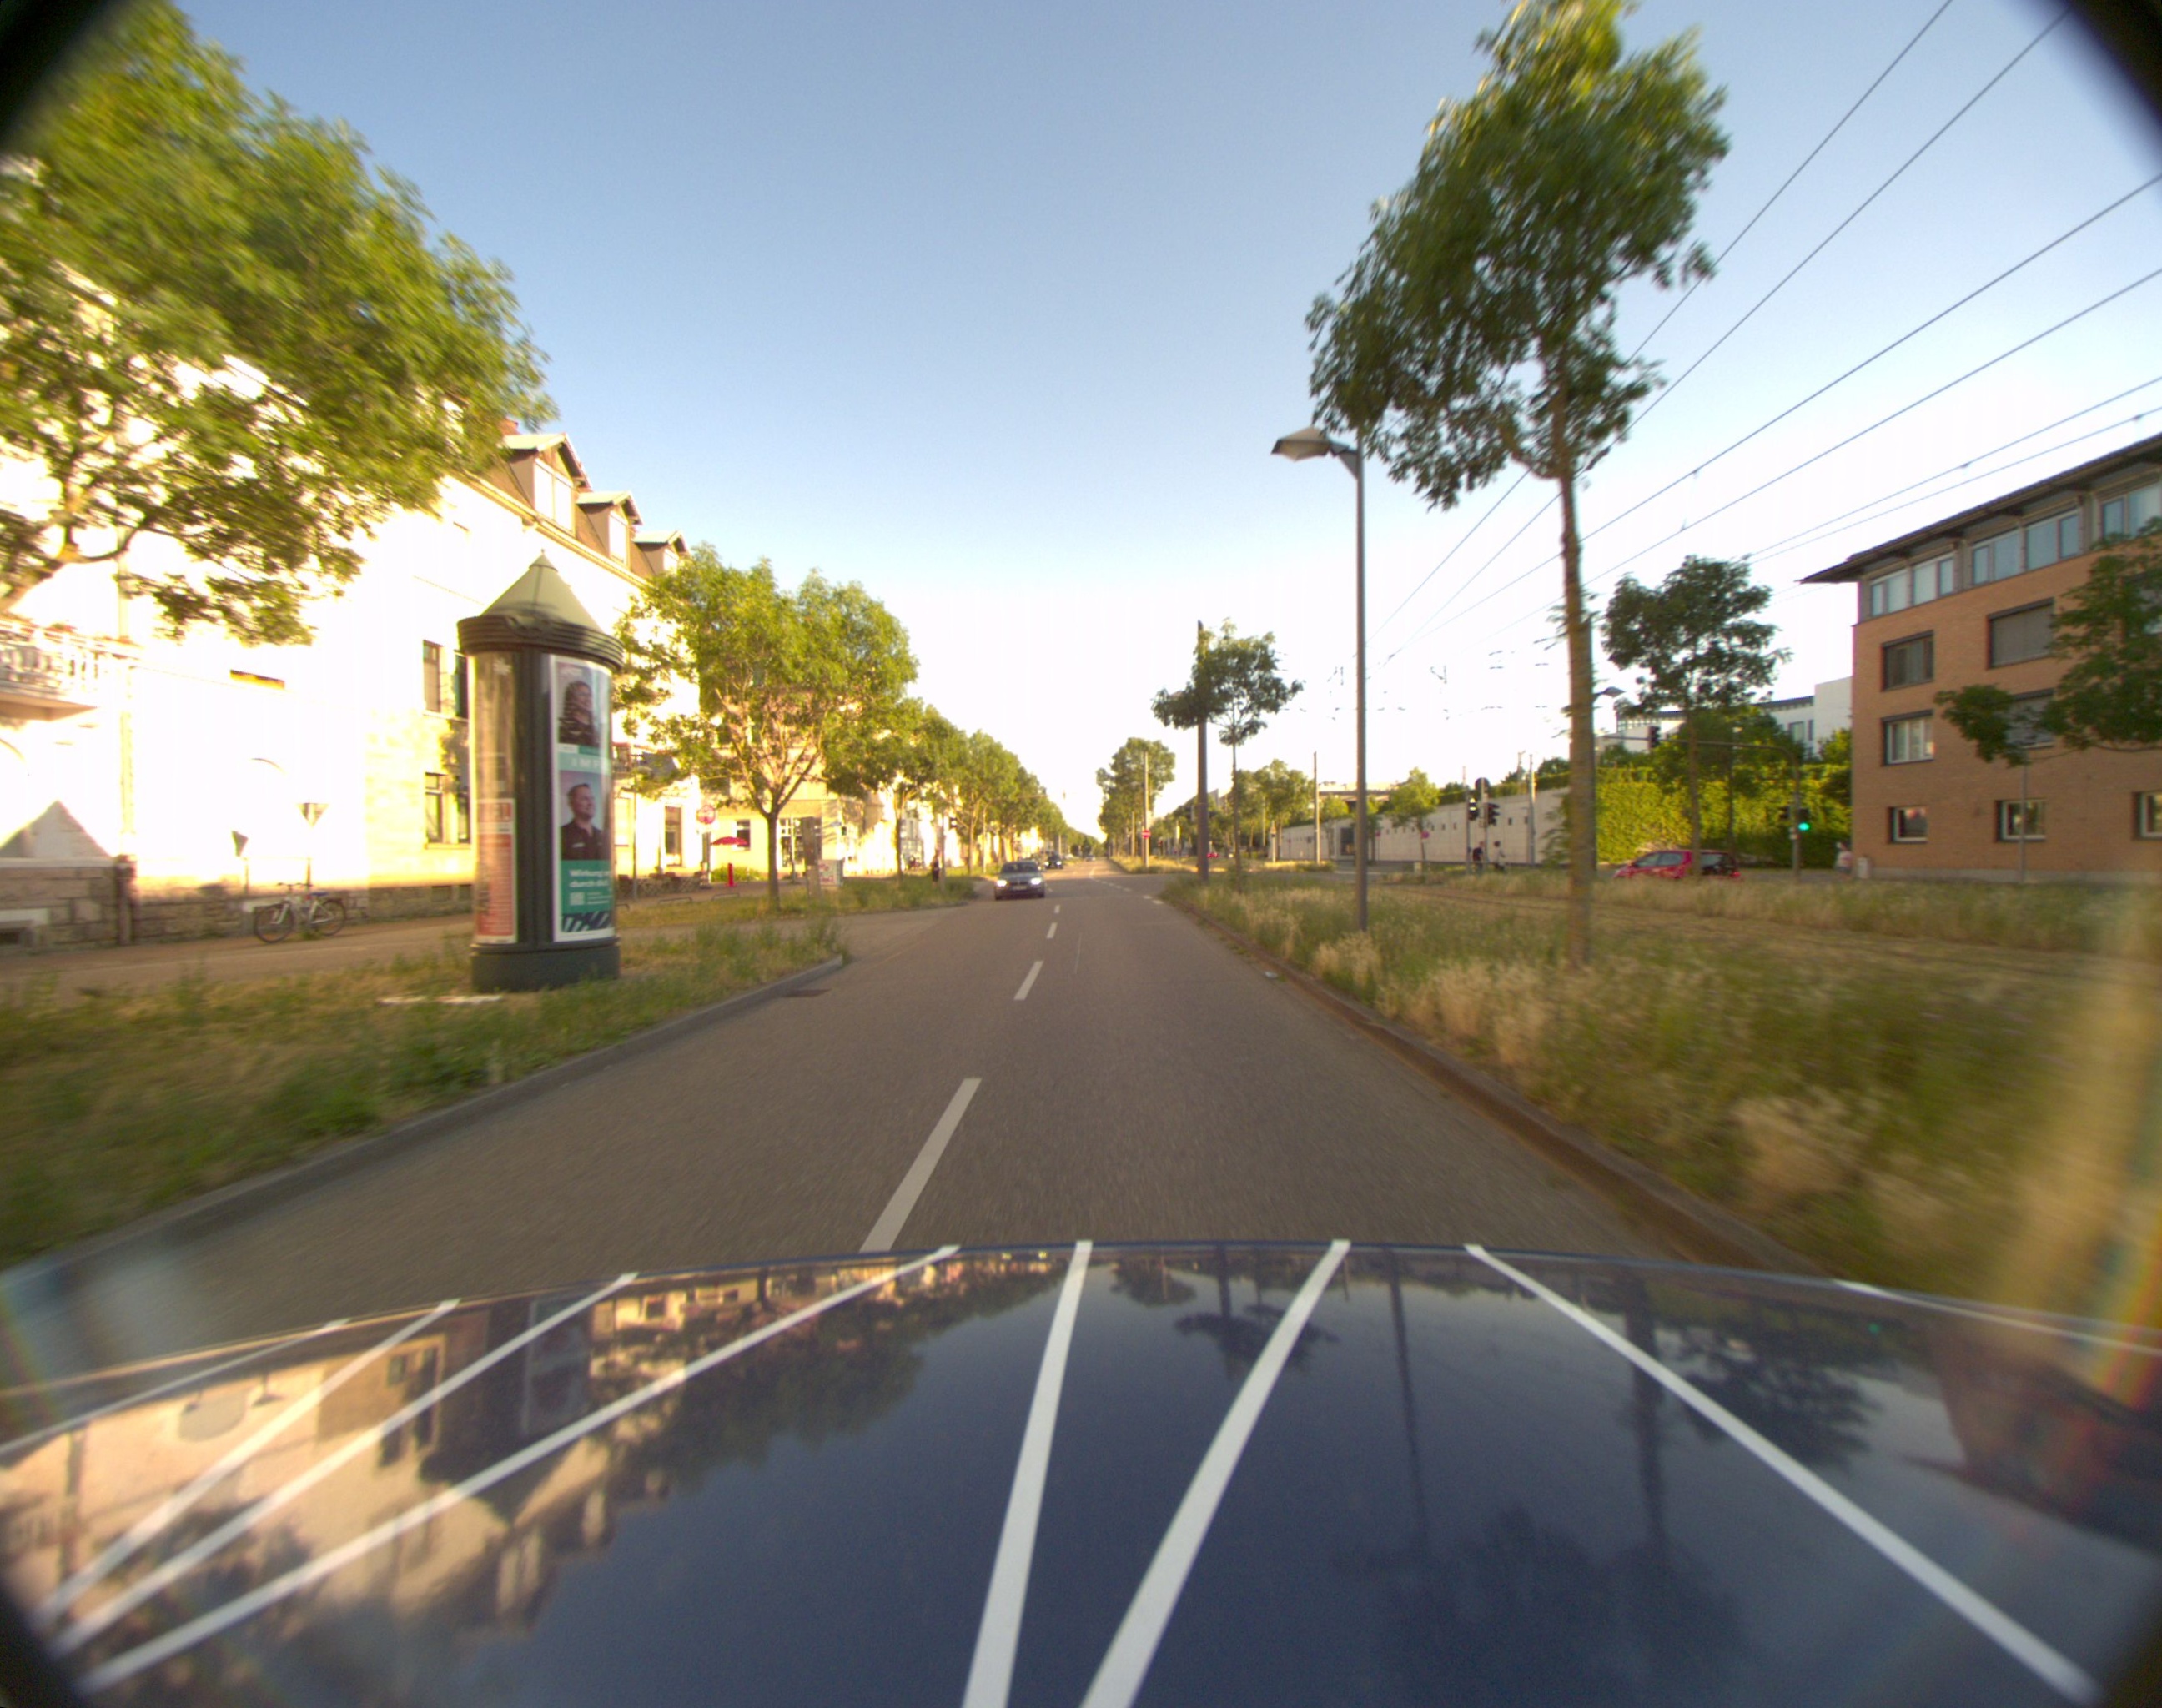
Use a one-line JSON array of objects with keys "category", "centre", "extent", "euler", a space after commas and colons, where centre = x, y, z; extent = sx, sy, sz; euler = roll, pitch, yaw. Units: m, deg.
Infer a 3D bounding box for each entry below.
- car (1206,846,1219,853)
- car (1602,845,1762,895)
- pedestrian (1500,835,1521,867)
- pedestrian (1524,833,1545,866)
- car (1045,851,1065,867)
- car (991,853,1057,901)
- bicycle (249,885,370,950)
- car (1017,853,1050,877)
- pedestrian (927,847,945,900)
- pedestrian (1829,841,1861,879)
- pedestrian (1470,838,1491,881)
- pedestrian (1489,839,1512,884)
[{"category": "car", "centre": [24.574, -0.833, 142.476], "extent": [1.794, 1.368, 4.000], "euler": [-1, 0, 1]}, {"category": "car", "centre": [18.204, 0.439, 23.269], "extent": [1.794, 1.368, 4.000], "euler": [-1, 0, 1]}, {"category": "pedestrian", "centre": [27.029, -0.193, 47.831], "extent": [0.730, 2.002, 0.867], "euler": [-1, 1, -13]}, {"category": "pedestrian", "centre": [28.239, -0.280, 47.294], "extent": [0.730, 2.002, 0.867], "euler": [-1, 1, -14]}, {"category": "car", "centre": [-2.746, 0.487, 81.382], "extent": [1.999, 1.583, 3.999], "euler": [-2, 0, 0]}, {"category": "car", "centre": [-2.149, 0.827, 29.749], "extent": [1.998, 1.655, 4.000], "euler": [-2, 0, 3]}, {"category": "bicycle", "centre": [-14.770, 1.182, 14.610], "extent": [0.613, 1.082, 1.720], "euler": [1, 1, -3]}, {"category": "car", "centre": [-3.297, 0.746, 53.537], "extent": [1.999, 1.583, 3.999], "euler": [-2, 0, 0]}, {"category": "pedestrian", "centre": [-5.627, 0.750, 29.513], "extent": [0.514, 2.002, 0.599], "euler": [-1, 1, 2]}, {"category": "pedestrian", "centre": [27.510, 0.221, 27.368], "extent": [0.587, 1.359, 0.575], "euler": [-1, 1, -4]}, {"category": "pedestrian", "centre": [15.715, 0.210, 29.897], "extent": [0.515, 1.675, 0.548], "euler": [-2, 1, -29]}, {"category": "pedestrian", "centre": [15.961, 0.288, 28.910], "extent": [0.515, 1.675, 0.548], "euler": [-2, 1, -29]}]
